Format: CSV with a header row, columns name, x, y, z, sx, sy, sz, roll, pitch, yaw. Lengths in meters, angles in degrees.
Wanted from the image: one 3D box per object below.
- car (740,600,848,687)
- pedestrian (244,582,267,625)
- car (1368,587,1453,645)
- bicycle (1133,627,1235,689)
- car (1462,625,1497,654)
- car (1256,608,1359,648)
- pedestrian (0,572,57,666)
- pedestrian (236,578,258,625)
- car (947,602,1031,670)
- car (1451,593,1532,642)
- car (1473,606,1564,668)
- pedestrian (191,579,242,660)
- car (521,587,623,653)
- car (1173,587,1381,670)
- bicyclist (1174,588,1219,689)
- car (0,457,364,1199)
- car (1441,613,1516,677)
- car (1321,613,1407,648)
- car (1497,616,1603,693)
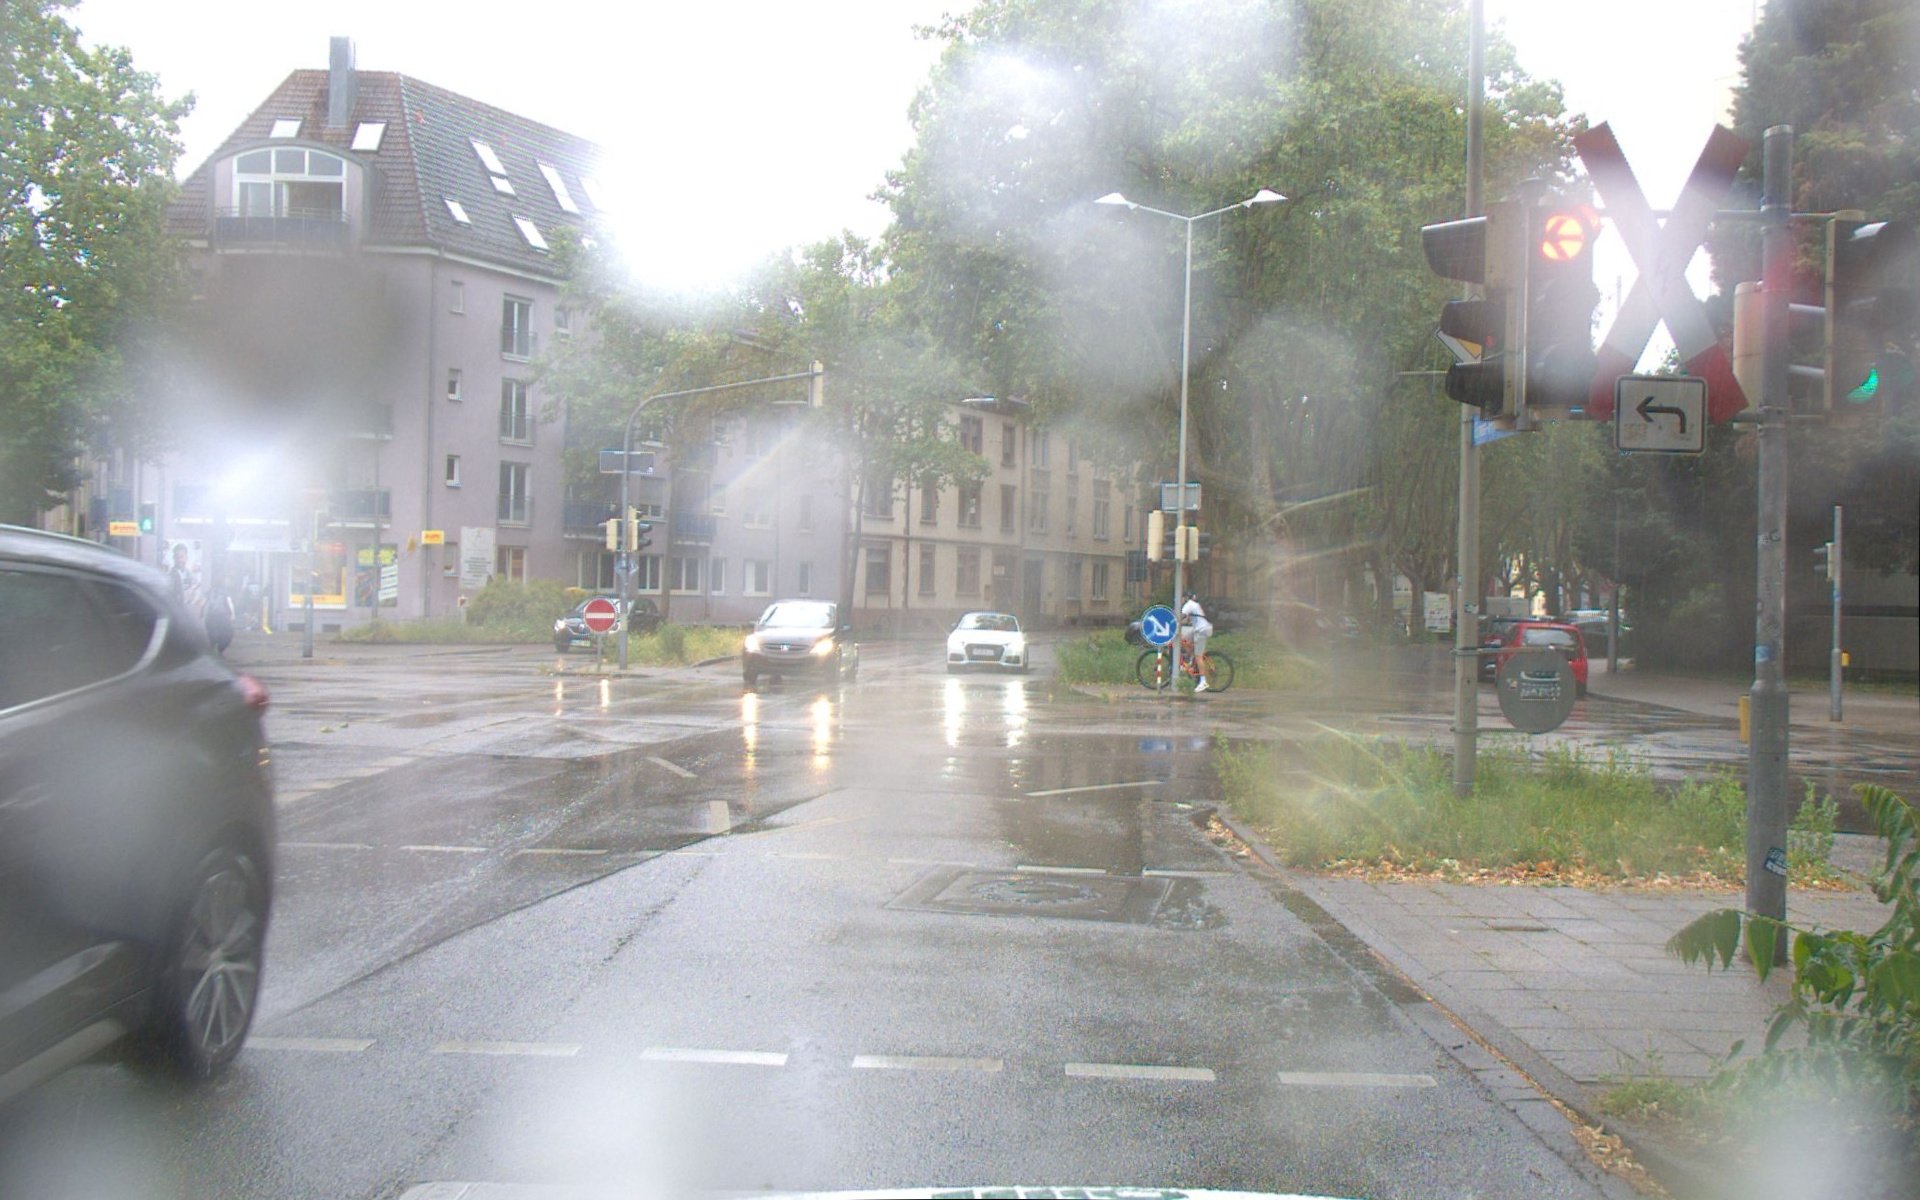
name,x,y,z,sx,sy,sz,roll,pitch,yaw
car,-3.003,0.761,30.530,1.679,1.485,3.747,1,0,-2
pedestrian,-22.226,0.110,52.173,0.556,1.353,0.439,1,-1,-38
car,23.934,0.848,88.065,2.005,3.000,4.742,1,0,-21
bicycle,4.118,1.058,30.436,1.833,1.100,0.657,1,0,7
car,28.420,2.127,90.463,1.646,1.500,3.663,1,0,20
car,13.789,1.100,65.670,3.902,1.512,2.002,1,0,12
pedestrian,-16.650,0.336,29.399,0.659,1.628,0.968,1,0,-1
pedestrian,-22.772,0.039,52.824,0.550,1.483,0.444,1,-1,-13
car,0.700,0.807,39.109,1.845,1.461,4.001,1,0,1
car,33.648,1.081,104.810,1.974,3.000,4.720,1,0,-31
car,13.883,0.880,41.300,1.745,1.371,3.932,1,1,13
pedestrian,-14.642,0.383,32.582,0.736,1.560,0.789,1,-1,-12
car,-9.640,0.460,41.336,1.716,1.538,3.838,1,0,-2
car,6.273,0.542,32.786,3.902,1.512,2.002,1,0,12
bicyclist,4.349,0.703,30.413,0.778,1.817,0.697,1,-1,7
car,-2.958,0.529,3.628,1.767,1.712,4.601,1,0,-2
car,14.974,1.257,47.904,1.745,1.757,4.003,1,0,13
car,19.243,1.443,78.922,3.902,1.574,2.002,1,0,12
car,13.038,1.166,36.730,1.754,1.524,4.003,1,0,13
